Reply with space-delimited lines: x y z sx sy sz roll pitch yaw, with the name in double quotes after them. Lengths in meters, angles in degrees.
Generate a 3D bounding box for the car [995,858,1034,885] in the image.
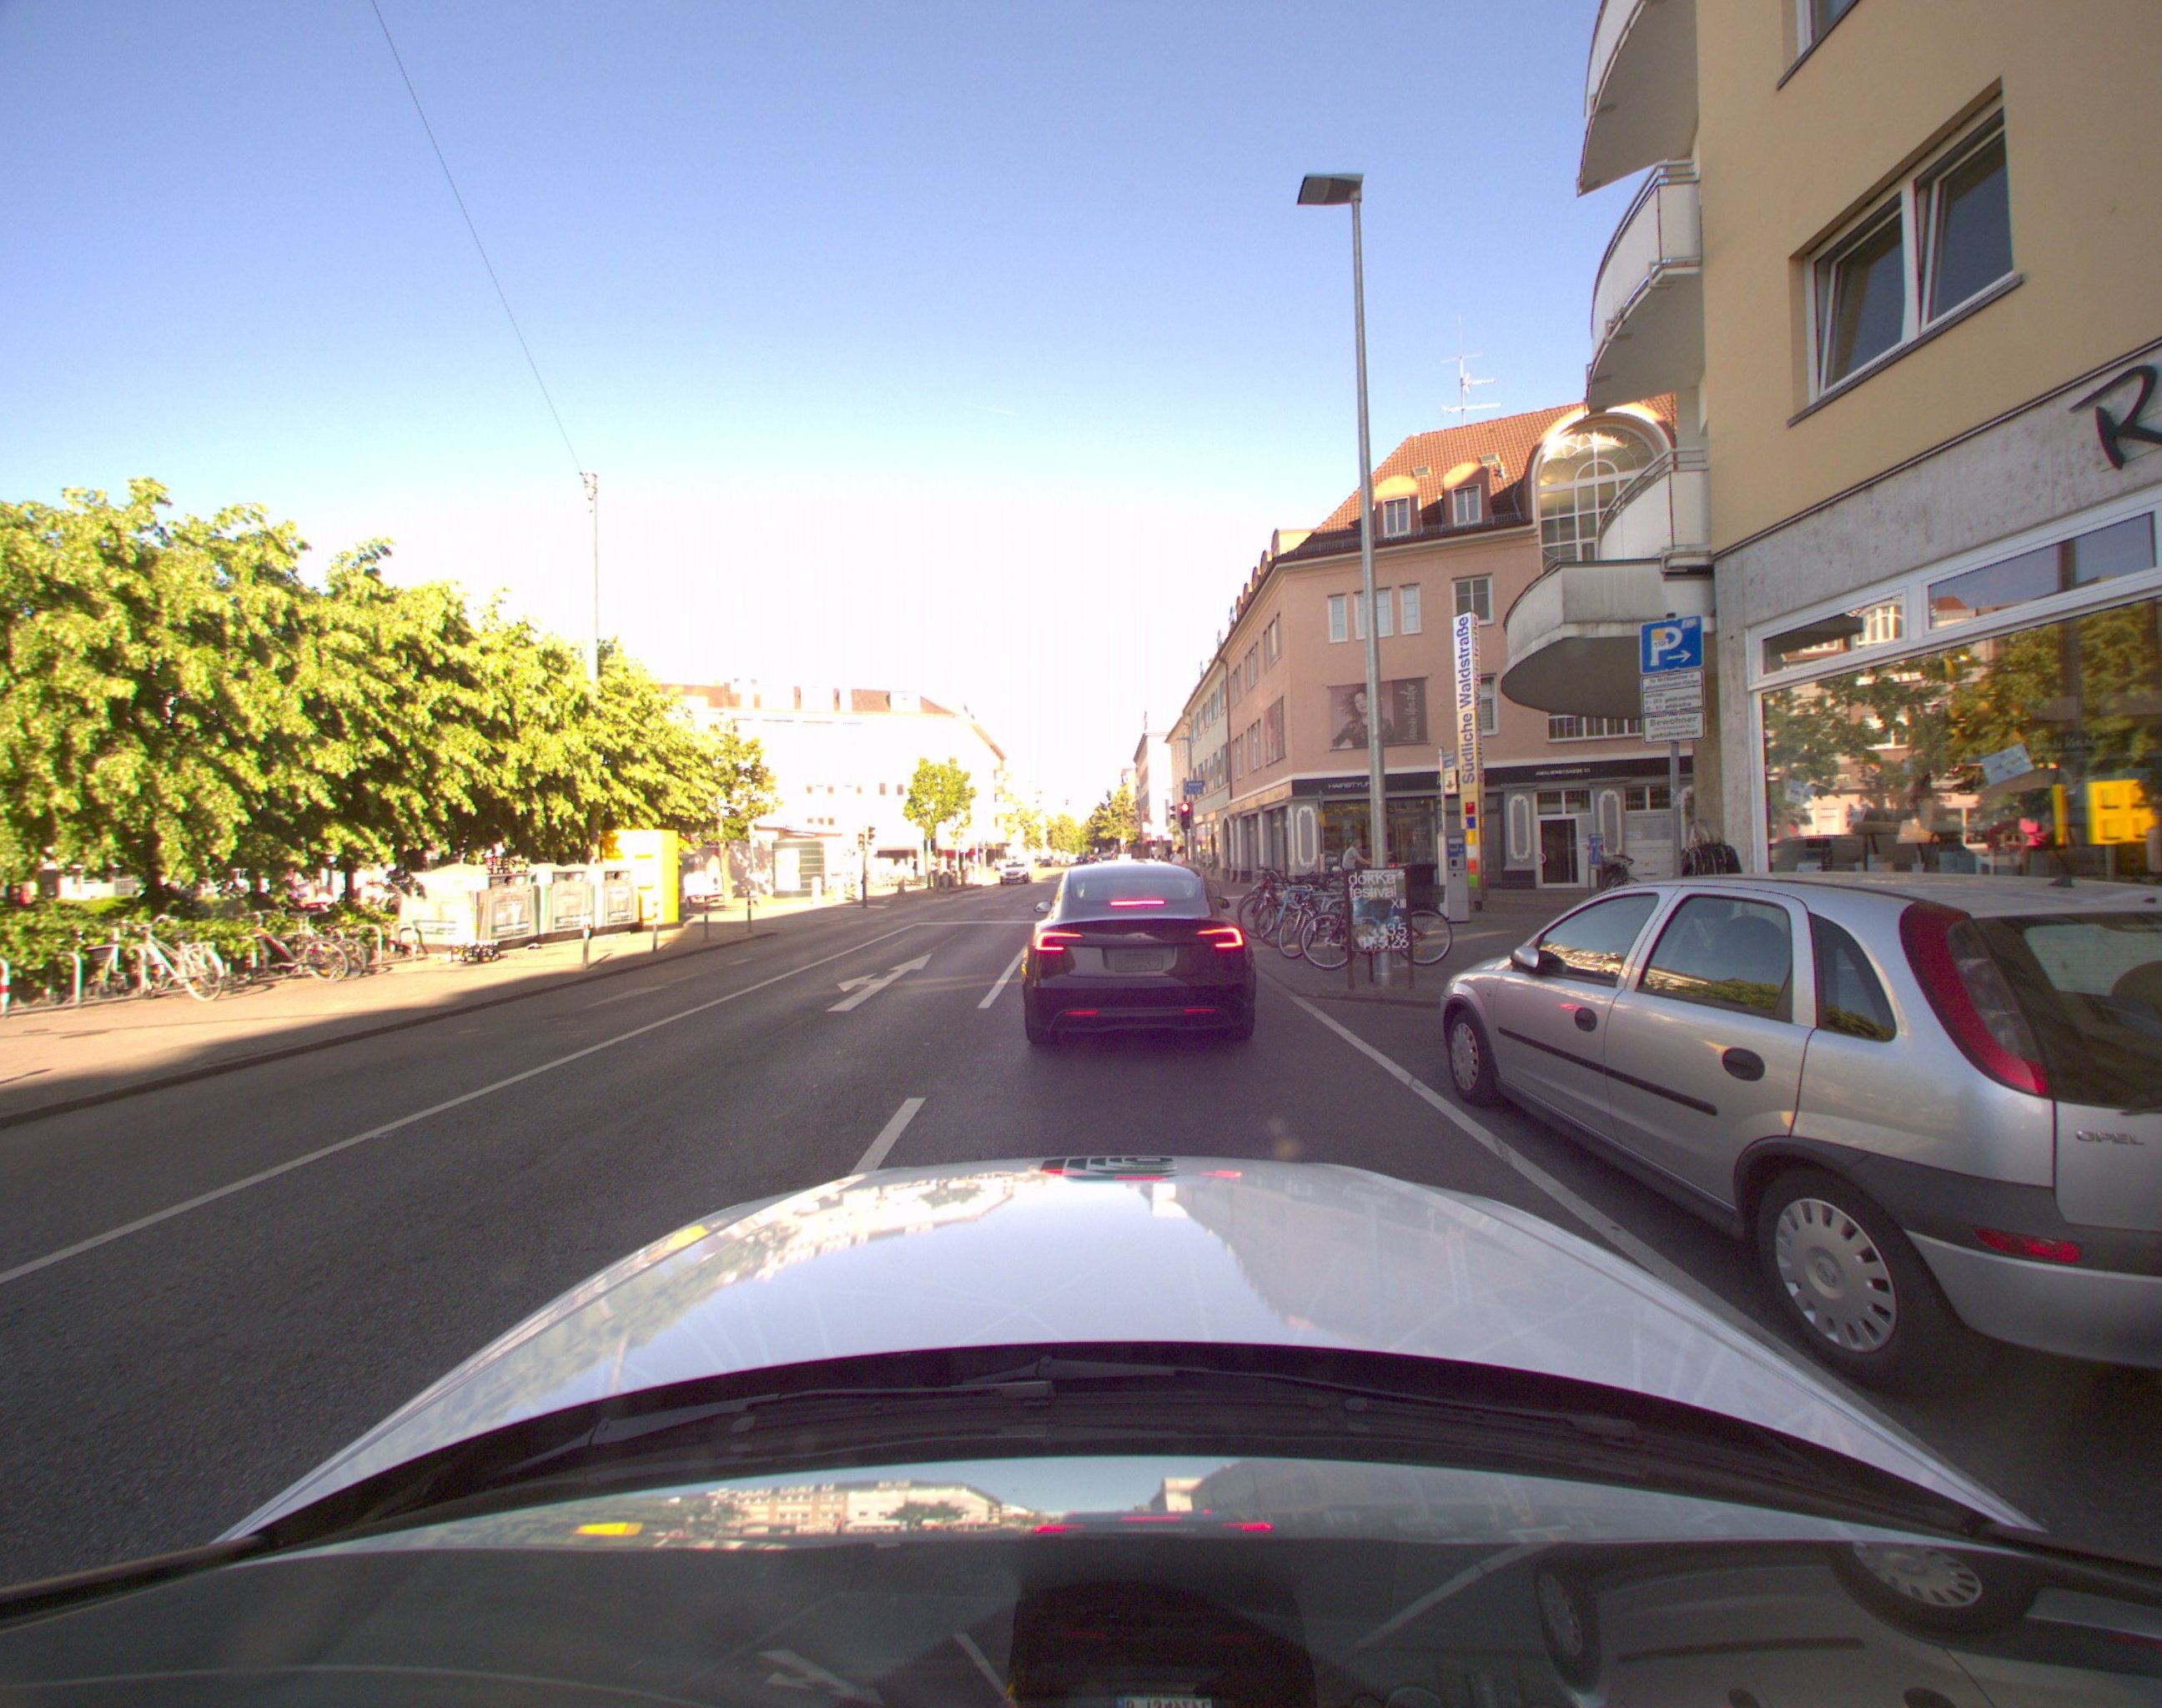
-4.331 1.092 53.737 1.986 1.541 4.002 -5 0 2 "car"

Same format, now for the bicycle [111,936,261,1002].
-11.433 1.457 10.411 1.645 0.769 0.476 -1 -1 10 "bicycle"

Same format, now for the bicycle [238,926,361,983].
-11.324 1.457 11.813 1.465 0.769 0.442 -1 -1 6 "bicycle"

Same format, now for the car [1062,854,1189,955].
0.742 0.756 13.916 1.842 1.455 3.788 -1 0 3 "car"

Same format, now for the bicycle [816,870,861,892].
-12.846 1.447 43.180 2.075 1.104 0.806 -1 0 1 "bicycle"

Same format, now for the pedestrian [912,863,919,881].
-12.659 1.356 62.313 0.419 1.339 0.393 -1 0 -5 "pedestrian"

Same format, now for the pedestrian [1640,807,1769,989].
5.955 0.410 7.813 0.659 1.633 0.629 -4 -1 6 "pedestrian"

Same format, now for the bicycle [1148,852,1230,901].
2.999 0.625 22.608 2.108 1.200 0.631 -4 -1 17 "bicycle"

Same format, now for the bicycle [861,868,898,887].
-12.475 1.476 50.471 2.075 1.104 0.806 -1 0 1 "bicycle"

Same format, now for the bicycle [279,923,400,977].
-11.253 1.454 12.372 1.466 0.769 0.475 -1 -1 4 "bicycle"

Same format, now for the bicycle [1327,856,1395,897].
7.250 0.580 21.135 1.604 1.045 0.593 -1 -1 14 "bicycle"

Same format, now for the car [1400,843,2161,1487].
2.954 0.678 3.710 1.615 1.394 3.888 -1 0 3 "car"

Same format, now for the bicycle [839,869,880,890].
-12.429 1.436 45.692 2.075 1.104 0.806 -1 0 1 "bicycle"

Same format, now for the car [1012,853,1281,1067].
0.539 0.745 7.570 1.842 1.455 3.788 -1 0 3 "car"

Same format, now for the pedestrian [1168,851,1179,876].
6.625 0.691 58.148 0.701 1.783 0.534 -1 0 1 "pedestrian"

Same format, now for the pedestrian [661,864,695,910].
-15.468 1.259 31.255 0.897 1.725 0.745 -1 0 5 "pedestrian"

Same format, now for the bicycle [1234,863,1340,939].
3.444 0.780 13.679 1.622 1.160 0.433 -3 0 0 "bicycle"

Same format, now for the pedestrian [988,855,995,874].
-9.994 1.173 91.343 0.623 2.014 0.707 -1 0 1 "pedestrian"

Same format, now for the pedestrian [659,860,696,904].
-15.435 1.068 31.178 0.981 1.636 0.738 -1 0 5 "pedestrian"

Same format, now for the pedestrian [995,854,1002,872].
-9.272 0.978 91.221 0.623 2.014 0.575 -1 0 1 "pedestrian"

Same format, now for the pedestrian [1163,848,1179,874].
6.424 0.510 58.096 0.995 1.850 0.615 -1 0 1 "pedestrian"

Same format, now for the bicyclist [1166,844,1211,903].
2.994 0.535 22.617 1.088 1.589 0.631 -1 0 18 "bicyclist"

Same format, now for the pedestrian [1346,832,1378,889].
7.284 0.171 21.144 0.738 1.440 0.584 -1 -1 14 "pedestrian"

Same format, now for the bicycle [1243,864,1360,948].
3.358 0.785 12.486 1.622 1.160 0.433 -3 0 0 "bicycle"

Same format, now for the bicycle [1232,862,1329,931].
3.619 0.768 14.844 1.621 1.160 0.433 -3 0 2 "bicycle"

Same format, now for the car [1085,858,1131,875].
2.759 1.290 84.516 2.069 1.727 4.596 -1 0 -45 "car"

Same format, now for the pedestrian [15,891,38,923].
-58.714 2.943 45.348 0.576 1.792 0.604 -1 -1 19 "pedestrian"

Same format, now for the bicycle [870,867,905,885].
-12.517 1.447 52.667 2.075 1.104 0.806 -1 0 1 "bicycle"

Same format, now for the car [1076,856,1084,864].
-0.296 1.349 192.787 1.824 1.724 4.000 -1 0 0 "car"

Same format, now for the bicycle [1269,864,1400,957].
3.507 0.772 11.315 1.622 1.160 0.433 -3 0 0 "bicycle"
